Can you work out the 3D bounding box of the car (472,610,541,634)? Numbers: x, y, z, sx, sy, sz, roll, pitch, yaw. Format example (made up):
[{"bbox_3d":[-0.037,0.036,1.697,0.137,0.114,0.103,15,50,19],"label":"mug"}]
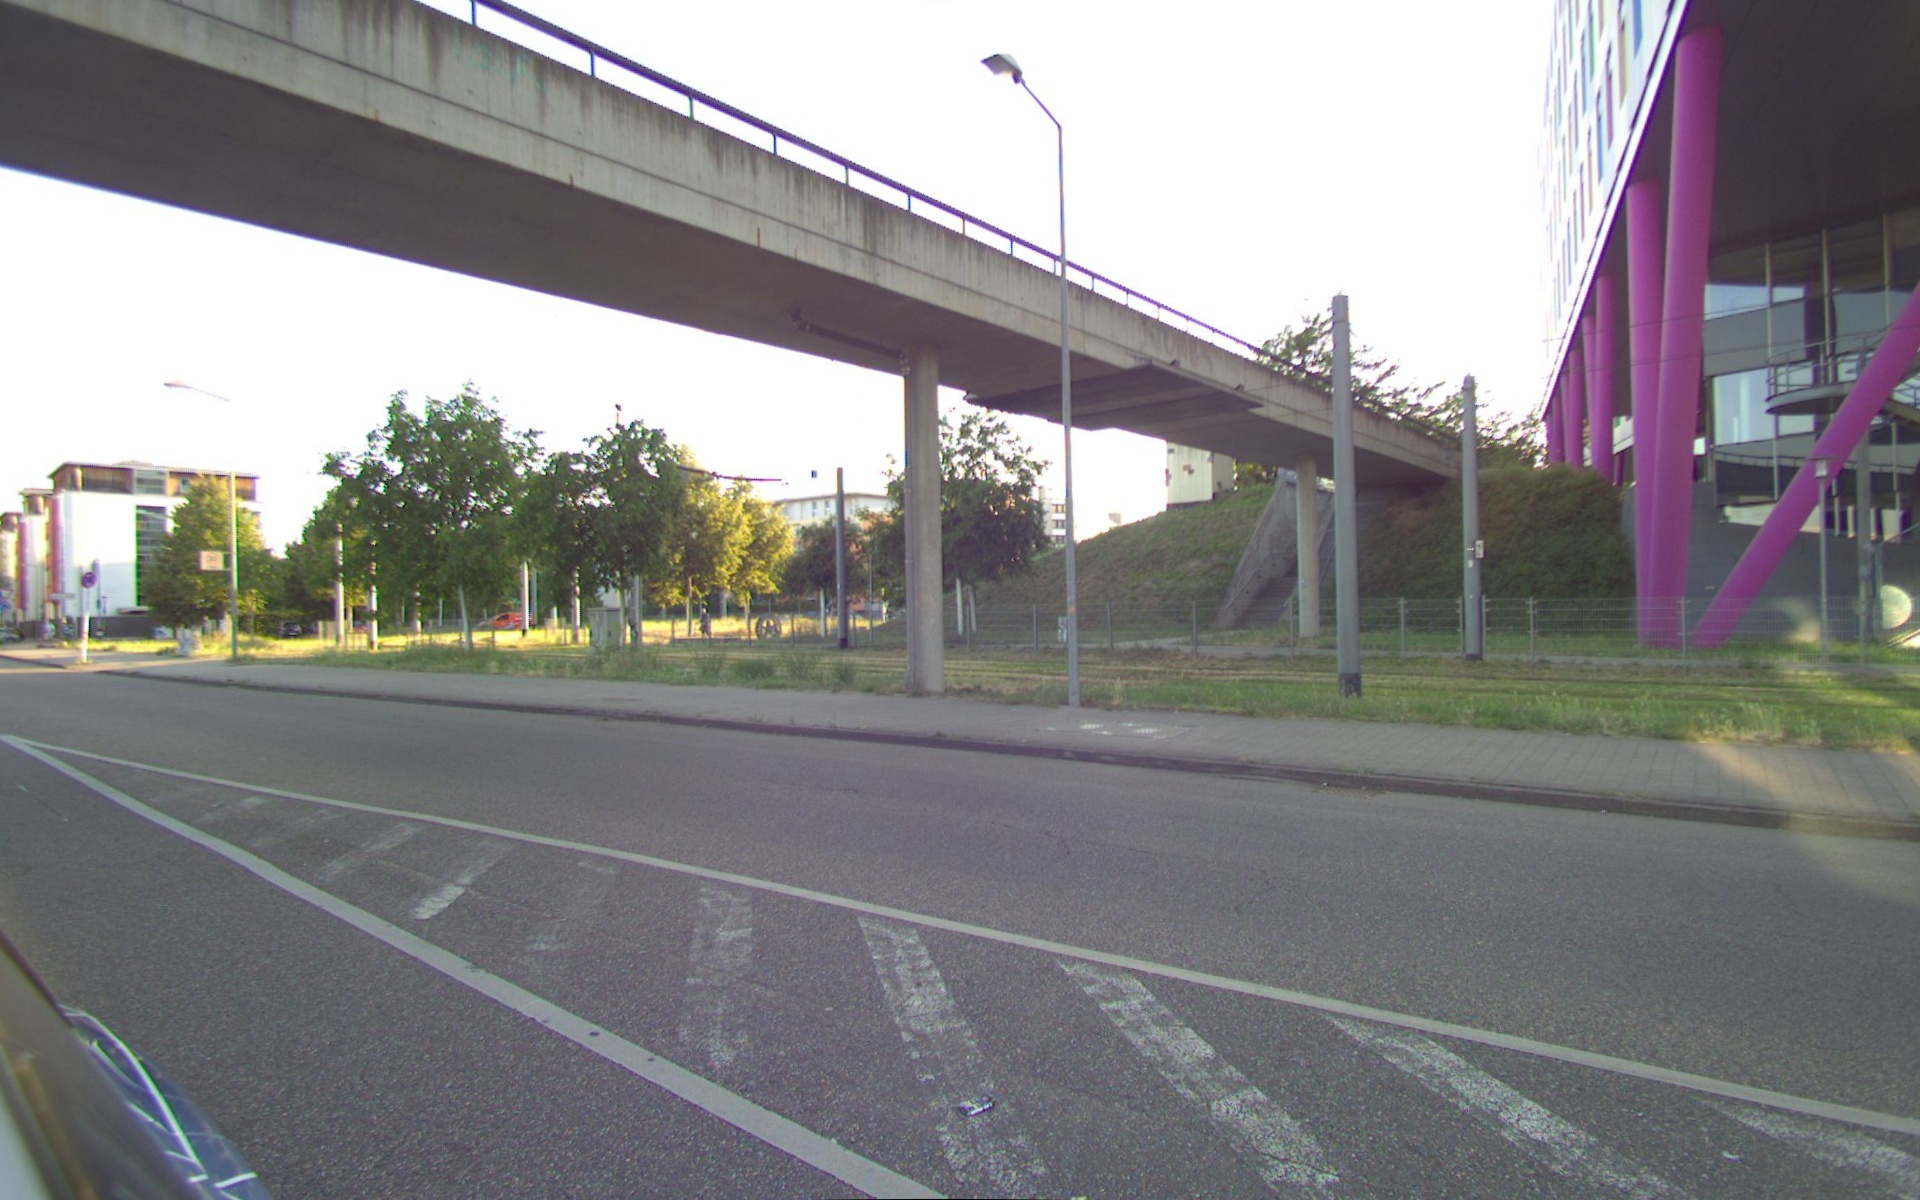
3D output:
[{"bbox_3d":[-41.533,2.007,92.723,5.438,2.029,2.004,-1,-1,-39],"label":"car"}]

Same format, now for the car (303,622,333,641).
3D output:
[{"bbox_3d":[-55.310,2.728,87.135,1.913,1.541,4.009,-1,-1,-36],"label":"car"}]

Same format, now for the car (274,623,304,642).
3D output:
[{"bbox_3d":[-56.890,2.735,85.800,1.913,1.541,4.009,-1,-1,-36],"label":"car"}]

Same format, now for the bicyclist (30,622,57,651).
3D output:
[{"bbox_3d":[-61.088,2.436,67.478,0.875,1.890,1.029,-1,-1,15],"label":"bicyclist"}]

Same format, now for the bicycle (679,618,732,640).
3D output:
[{"bbox_3d":[-12.933,1.462,51.461,0.654,1.016,2.808,-2,-1,37],"label":"bicycle"}]

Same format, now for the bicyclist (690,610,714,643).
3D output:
[{"bbox_3d":[-13.096,1.322,51.320,0.716,1.644,0.899,-2,-1,36],"label":"bicyclist"}]

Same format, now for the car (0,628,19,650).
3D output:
[{"bbox_3d":[-80.559,3.281,83.629,2.000,1.741,3.944,-2,-1,42],"label":"car"}]

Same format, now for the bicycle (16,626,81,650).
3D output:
[{"bbox_3d":[-61.043,2.544,67.833,0.879,1.503,3.307,-1,-1,13],"label":"bicycle"}]
